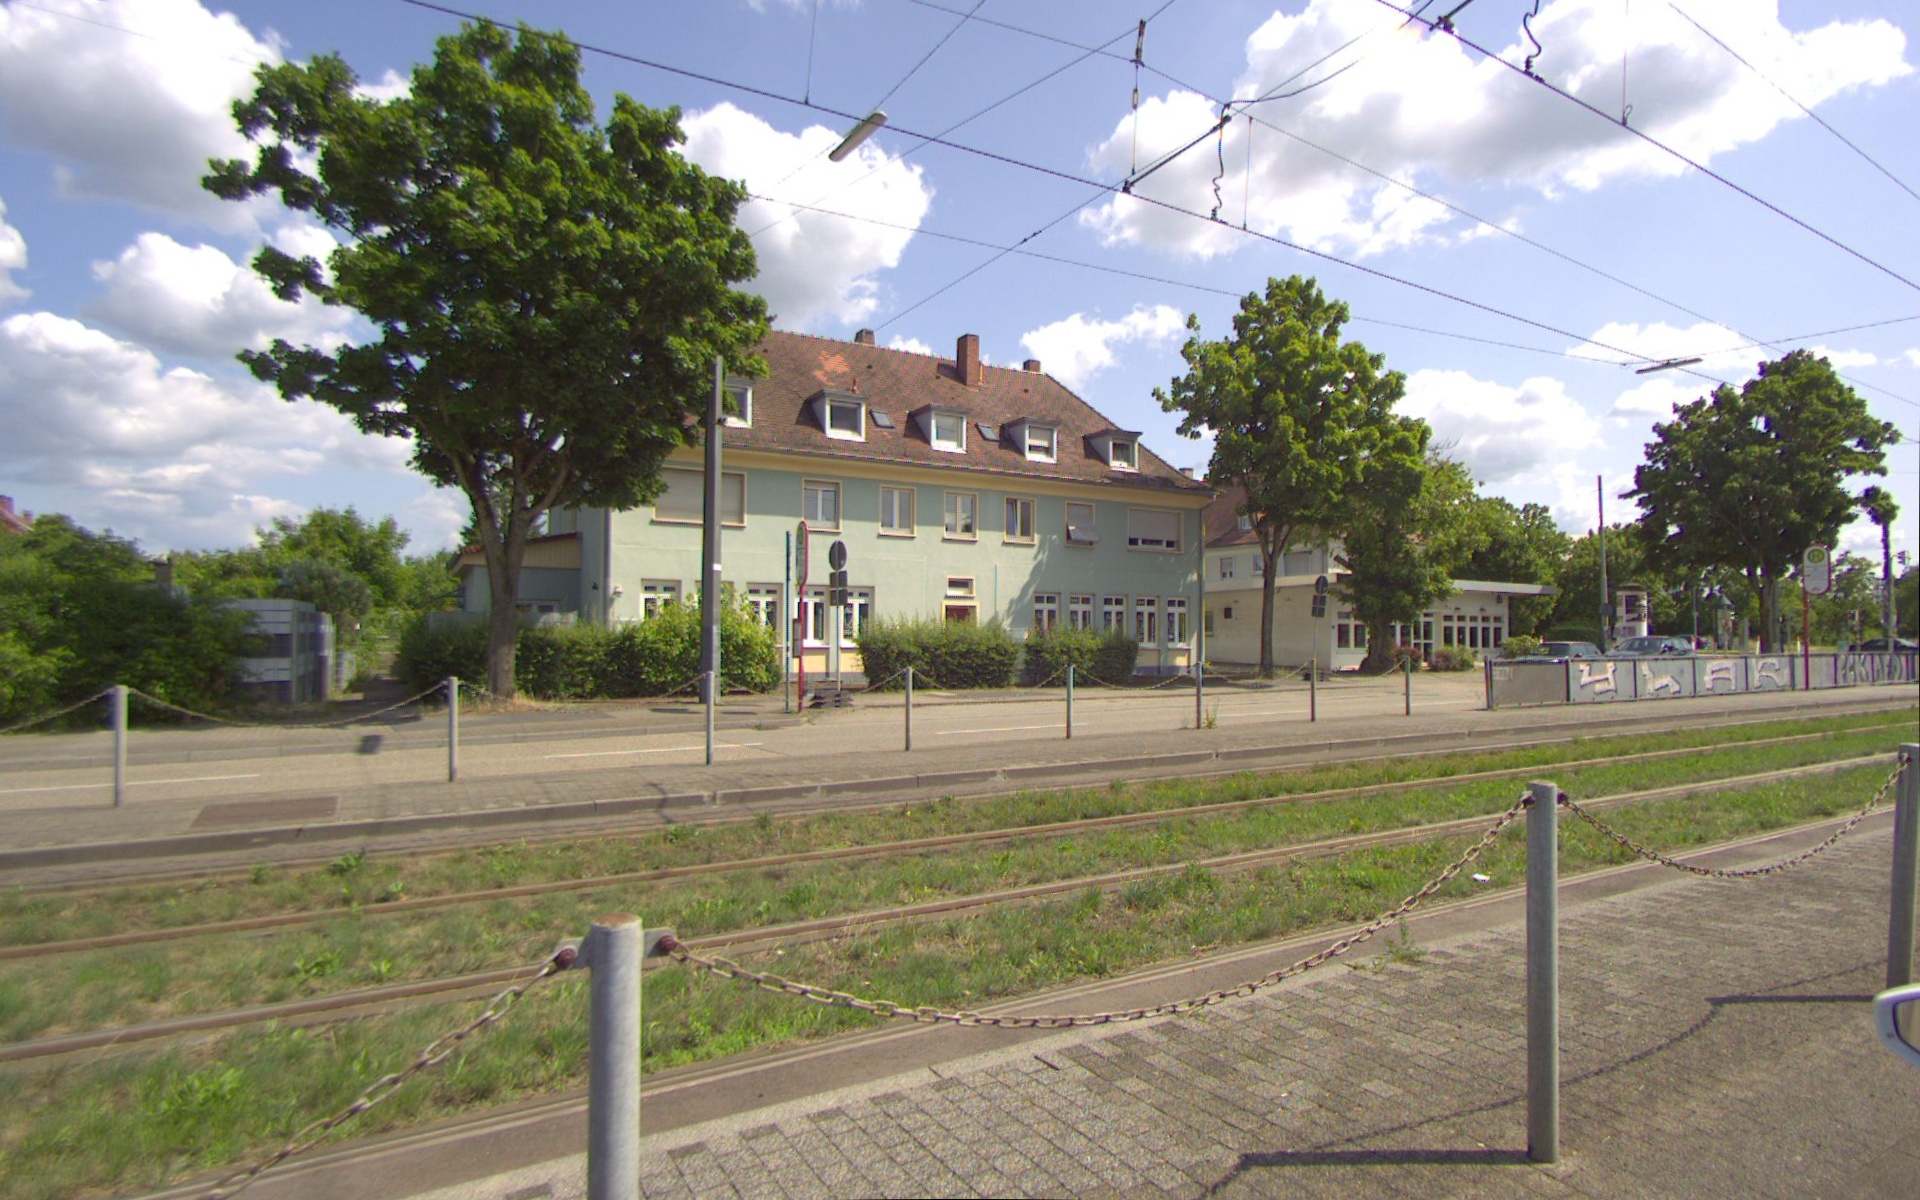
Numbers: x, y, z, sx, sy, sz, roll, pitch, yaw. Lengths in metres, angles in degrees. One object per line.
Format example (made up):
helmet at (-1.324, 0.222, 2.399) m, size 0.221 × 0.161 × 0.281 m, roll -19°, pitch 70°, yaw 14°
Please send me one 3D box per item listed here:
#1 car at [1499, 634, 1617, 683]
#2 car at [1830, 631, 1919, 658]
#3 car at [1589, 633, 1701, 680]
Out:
car at (20.574, 1.972, 34.532) m, size 3.882 × 1.605 × 1.779 m, roll 1°, pitch -2°, yaw -29°
car at (59.491, 2.874, 65.003) m, size 1.974 × 1.534 × 4.444 m, roll 2°, pitch -1°, yaw -27°
car at (25.808, 2.076, 37.791) m, size 4.708 × 1.635 × 2.046 m, roll 1°, pitch -2°, yaw -36°
